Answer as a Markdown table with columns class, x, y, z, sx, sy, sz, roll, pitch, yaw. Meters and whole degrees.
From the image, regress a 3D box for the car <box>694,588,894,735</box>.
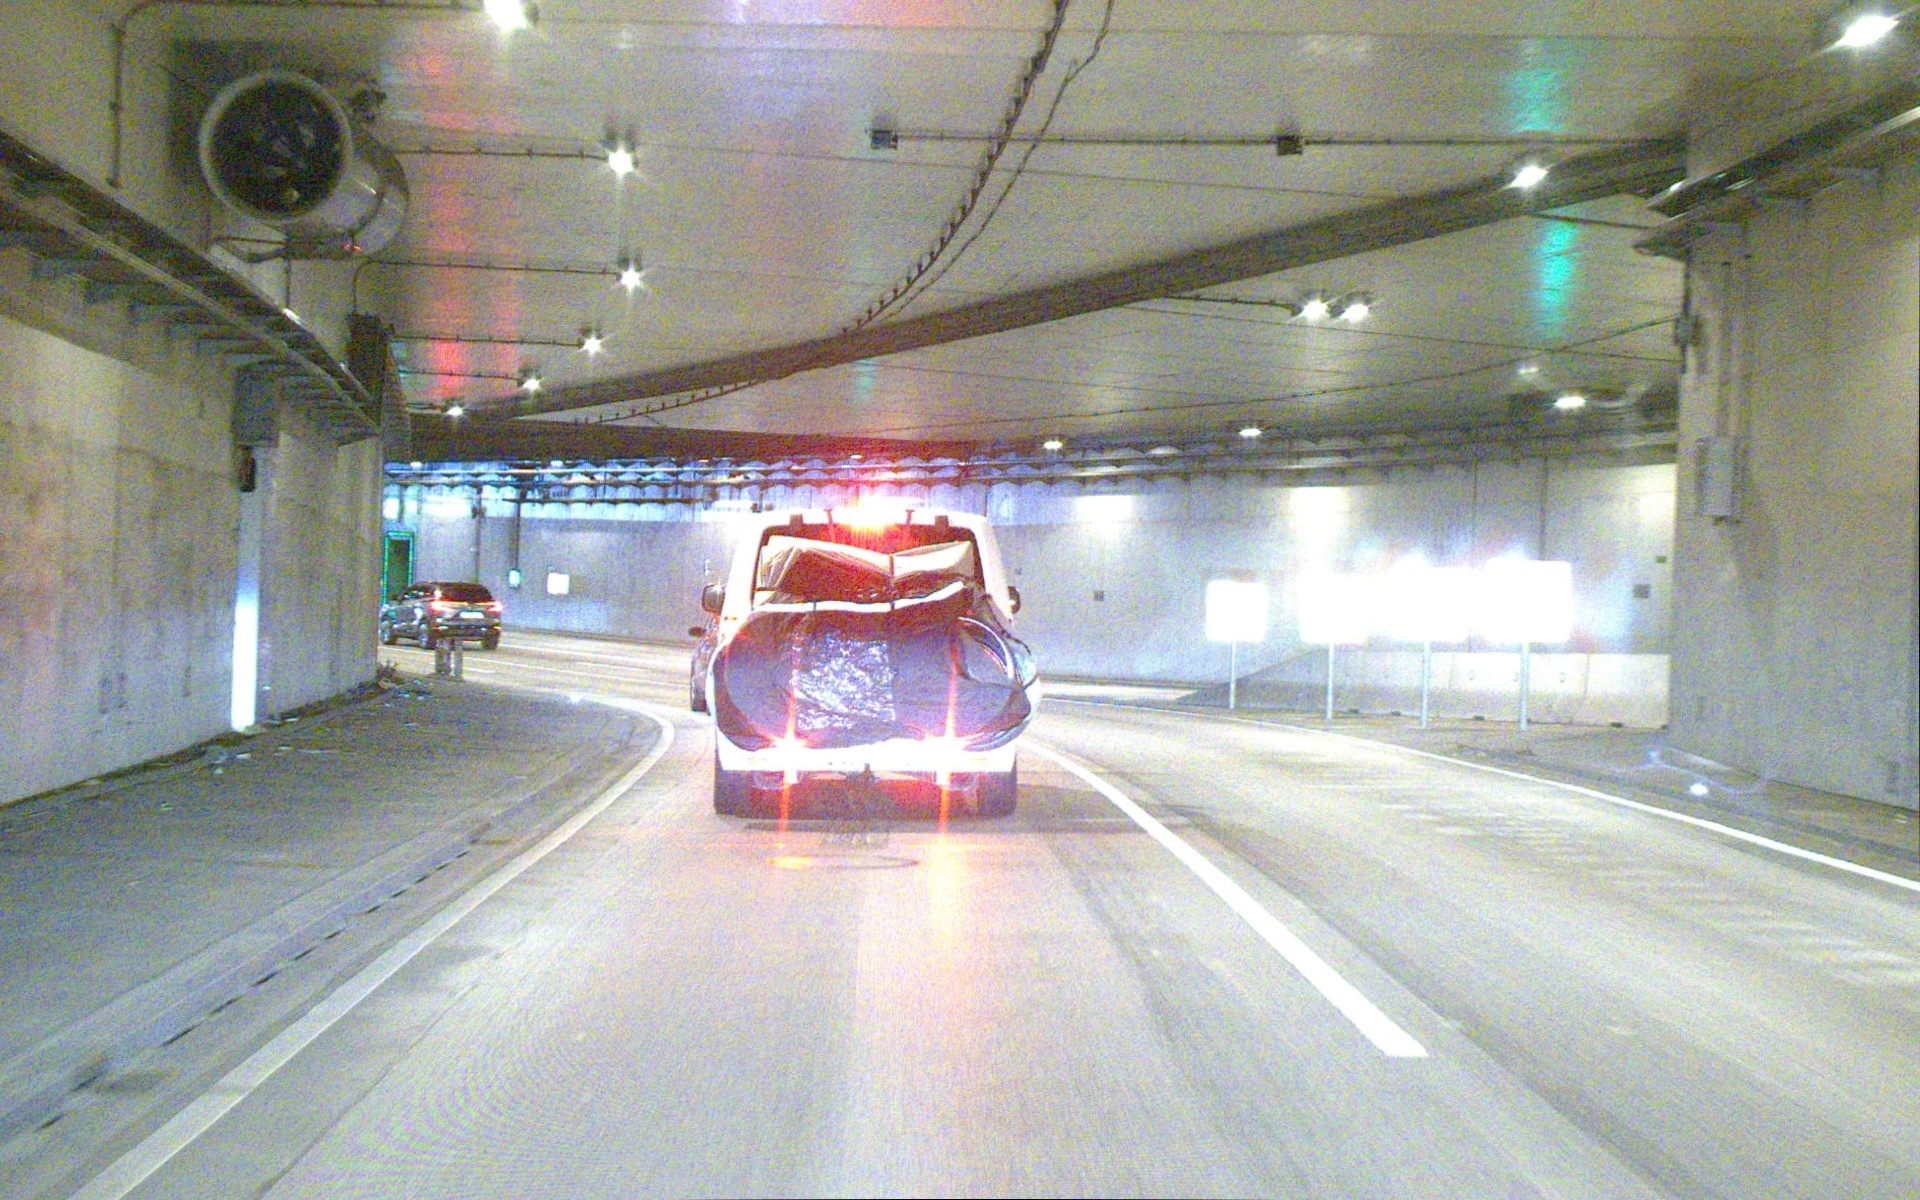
| class | x | y | z | sx | sy | sz | roll | pitch | yaw |
| --- | --- | --- | --- | --- | --- | --- | --- | --- | --- |
| car | -1.722 | 0.600 | 34.724 | 1.602 | 1.391 | 3.278 | 1 | 0 | -10 |

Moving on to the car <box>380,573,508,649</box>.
| class | x | y | z | sx | sy | sz | roll | pitch | yaw |
| --- | --- | --- | --- | --- | --- | --- | --- | --- | --- |
| car | -12.367 | 0.243 | 82.280 | 1.822 | 1.624 | 3.844 | 3 | 0 | -27 |

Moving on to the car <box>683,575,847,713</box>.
| class | x | y | z | sx | sy | sz | roll | pitch | yaw |
| --- | --- | --- | --- | --- | --- | --- | --- | --- | --- |
| car | -2.445 | 0.563 | 42.506 | 1.602 | 1.589 | 3.356 | 2 | -2 | -10 |

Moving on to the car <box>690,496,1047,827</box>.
| class | x | y | z | sx | sy | sz | roll | pitch | yaw |
| --- | --- | --- | --- | --- | --- | --- | --- | --- | --- |
| car | -0.630 | 0.366 | 21.992 | 1.993 | 1.841 | 5.301 | 0 | 0 | -2 |
